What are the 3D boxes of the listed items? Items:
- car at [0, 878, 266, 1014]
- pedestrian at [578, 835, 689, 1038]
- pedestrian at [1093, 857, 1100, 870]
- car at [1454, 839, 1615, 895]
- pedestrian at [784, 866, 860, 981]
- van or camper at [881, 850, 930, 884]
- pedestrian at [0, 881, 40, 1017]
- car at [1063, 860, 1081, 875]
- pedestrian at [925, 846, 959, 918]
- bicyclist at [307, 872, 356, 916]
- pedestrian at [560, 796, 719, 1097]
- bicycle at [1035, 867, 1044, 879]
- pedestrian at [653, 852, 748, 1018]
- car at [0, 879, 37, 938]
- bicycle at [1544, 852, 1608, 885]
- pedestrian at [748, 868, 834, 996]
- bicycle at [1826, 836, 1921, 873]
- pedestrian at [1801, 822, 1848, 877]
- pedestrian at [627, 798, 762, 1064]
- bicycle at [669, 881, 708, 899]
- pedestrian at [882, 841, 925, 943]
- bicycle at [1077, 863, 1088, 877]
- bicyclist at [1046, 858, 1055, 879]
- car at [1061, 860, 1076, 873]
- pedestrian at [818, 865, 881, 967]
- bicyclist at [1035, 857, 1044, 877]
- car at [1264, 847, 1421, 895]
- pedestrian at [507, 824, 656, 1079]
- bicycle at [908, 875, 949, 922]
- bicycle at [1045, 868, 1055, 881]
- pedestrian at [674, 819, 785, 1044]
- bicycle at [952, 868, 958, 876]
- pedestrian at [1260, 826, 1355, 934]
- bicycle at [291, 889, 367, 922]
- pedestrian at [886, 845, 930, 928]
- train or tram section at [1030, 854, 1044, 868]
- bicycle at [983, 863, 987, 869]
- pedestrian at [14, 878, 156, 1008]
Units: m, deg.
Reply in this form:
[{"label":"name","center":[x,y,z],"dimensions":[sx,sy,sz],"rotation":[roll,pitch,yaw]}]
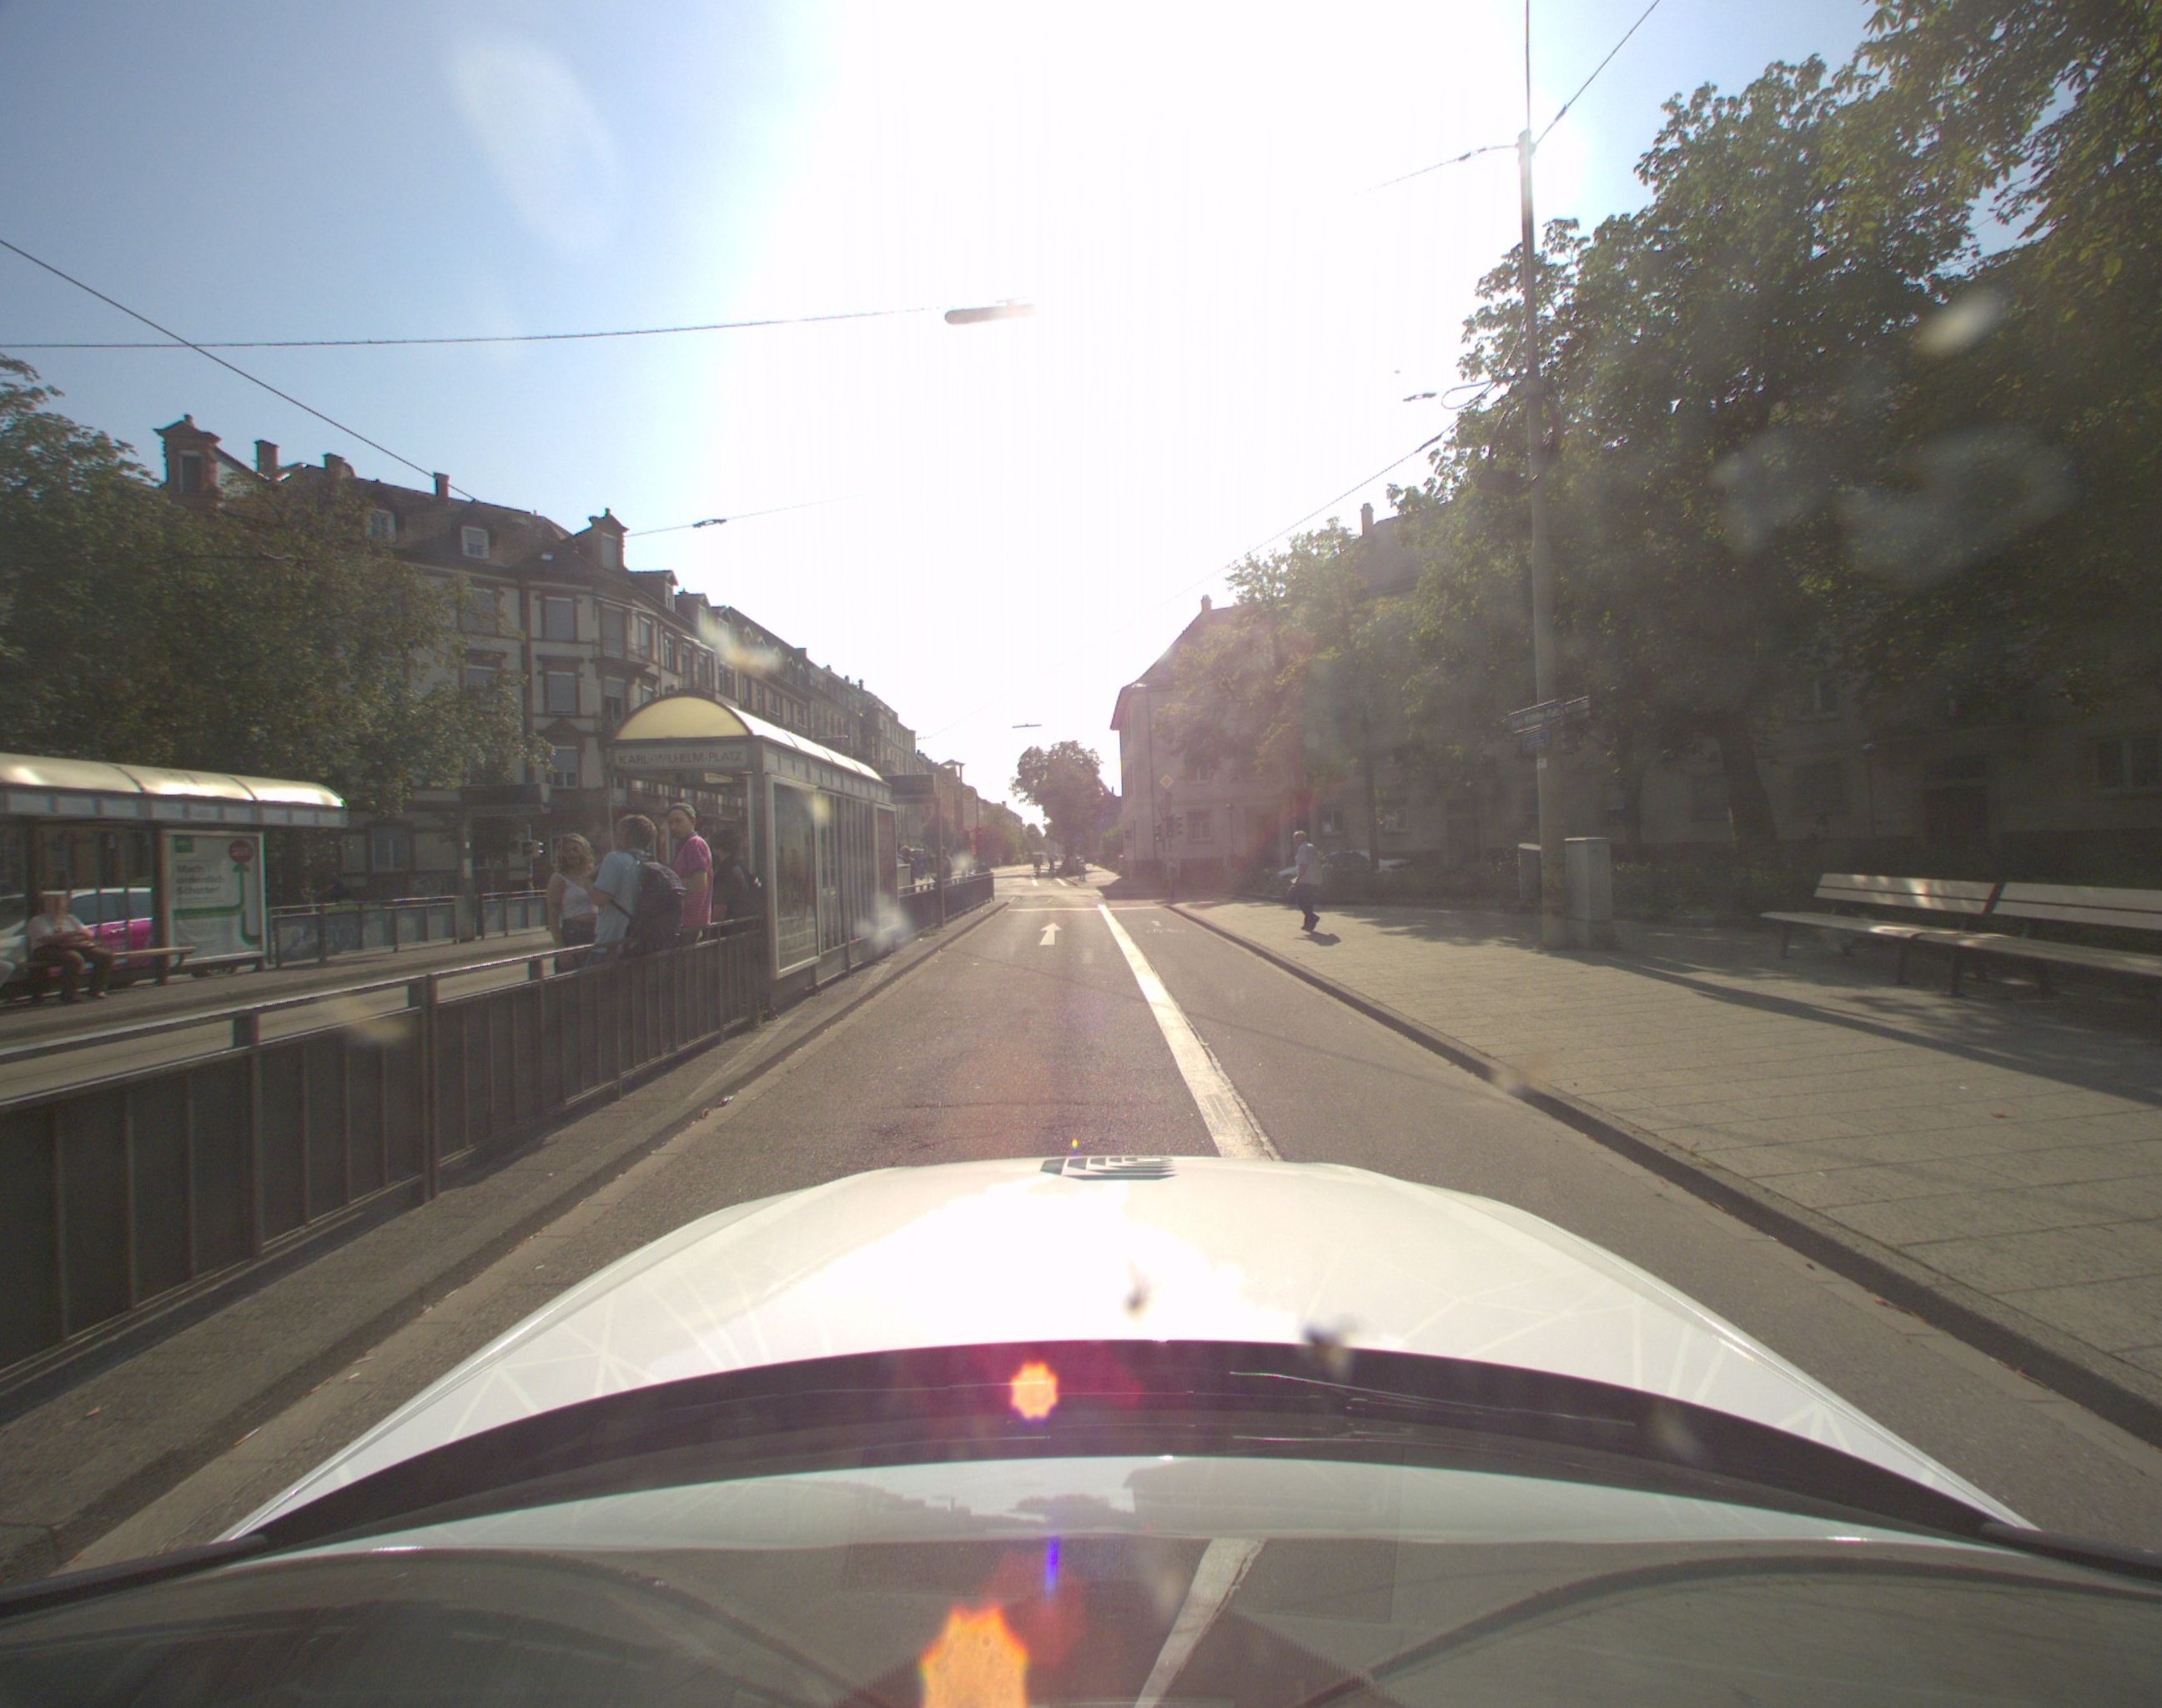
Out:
[{"label":"car","center":[-14.777,1.252,11.460],"dimensions":[1.986,1.651,4.483],"rotation":[-2,0,1]},{"label":"pedestrian","center":[-3.980,0.709,7.277],"dimensions":[0.587,1.721,0.607],"rotation":[-2,-1,1]},{"label":"pedestrian","center":[1.985,1.242,106.398],"dimensions":[0.748,1.749,0.879],"rotation":[-2,-1,6]},{"label":"car","center":[13.582,0.386,24.577],"dimensions":[1.759,1.451,3.847],"rotation":[-4,1,-35]},{"label":"pedestrian","center":[-3.245,0.850,10.245],"dimensions":[0.705,1.378,0.622],"rotation":[-2,-1,-1]},{"label":"van or camper","center":[-14.729,1.088,68.764],"dimensions":[2.040,2.644,6.100],"rotation":[-3,-1,6]},{"label":"pedestrian","center":[-12.024,1.039,8.765],"dimensions":[0.674,1.456,0.718],"rotation":[-2,-1,0]},{"label":"car","center":[-1.001,1.482,91.815],"dimensions":[1.637,1.540,3.847],"rotation":[-4,-1,5]},{"label":"pedestrian","center":[-3.551,0.707,20.833],"dimensions":[0.688,1.766,0.796],"rotation":[-2,-1,-2]},{"label":"bicyclist","center":[-25.766,1.358,28.016],"dimensions":[1.082,1.441,0.651],"rotation":[-2,-1,-28]},{"label":"pedestrian","center":[-2.887,0.575,5.379],"dimensions":[0.634,1.848,0.634],"rotation":[-2,-1,1]},{"label":"bicycle","center":[-3.073,1.396,59.852],"dimensions":[0.624,0.909,1.524],"rotation":[0,-1,-1]},{"label":"pedestrian","center":[-3.720,0.768,8.008],"dimensions":[0.587,1.544,0.607],"rotation":[-2,-1,1]},{"label":"car","center":[-39.967,2.008,29.095],"dimensions":[4.537,2.016,2.091],"rotation":[-2,-1,22]},{"label":"bicycle","center":[17.218,0.489,28.353],"dimensions":[0.611,1.058,1.821],"rotation":[-2,1,-33]},{"label":"pedestrian","center":[-3.201,0.839,9.031],"dimensions":[0.684,1.339,0.622],"rotation":[-2,-1,-1]},{"label":"bicycle","center":[22.782,0.028,23.467],"dimensions":[0.534,1.007,1.896],"rotation":[-2,0,-21]},{"label":"pedestrian","center":[23.325,-0.125,25.549],"dimensions":[0.690,1.671,0.858],"rotation":[-2,-1,-28]},{"label":"pedestrian","center":[-2.852,0.543,6.062],"dimensions":[0.634,1.848,0.634],"rotation":[-2,-1,1]},{"label":"bicycle","center":[-20.978,1.899,43.567],"dimensions":[0.521,0.860,1.840],"rotation":[-2,0,37]},{"label":"pedestrian","center":[-3.274,0.687,15.060],"dimensions":[0.602,1.806,0.729],"rotation":[-2,-1,-2]},{"label":"bicycle","center":[0.117,1.315,68.107],"dimensions":[0.770,1.104,2.331],"rotation":[-2,0,-3]},{"label":"bicyclist","center":[-2.171,1.014,57.758],"dimensions":[0.652,1.474,0.908],"rotation":[0,-1,-1]},{"label":"car","center":[-1.478,1.571,99.797],"dimensions":[1.640,1.448,4.244],"rotation":[-4,-1,0]},{"label":"pedestrian","center":[-3.289,0.866,11.620],"dimensions":[0.684,1.378,0.622],"rotation":[-2,-1,-1]},{"label":"bicyclist","center":[-3.073,0.950,59.870],"dimensions":[0.625,1.401,0.929],"rotation":[0,-1,-1]},{"label":"car","center":[9.246,0.637,29.025],"dimensions":[4.890,1.469,1.889],"rotation":[-3,2,40]},{"label":"pedestrian","center":[-3.630,0.676,5.966],"dimensions":[0.634,1.748,0.634],"rotation":[-2,-1,1]},{"label":"bicycle","center":[-3.902,1.127,20.941],"dimensions":[0.470,1.104,1.741],"rotation":[-2,0,8]},{"label":"bicycle","center":[-2.177,1.446,57.766],"dimensions":[0.652,0.909,1.774],"rotation":[0,-1,-1]},{"label":"pedestrian","center":[-2.889,0.614,6.748],"dimensions":[0.587,1.764,0.607],"rotation":[-2,-1,1]},{"label":"bicycle","center":[-16.931,2.373,109.421],"dimensions":[0.543,1.058,1.840],"rotation":[2,-1,1]},{"label":"pedestrian","center":[3.908,0.443,14.086],"dimensions":[1.084,1.724,0.959],"rotation":[-5,-1,-32]},{"label":"bicycle","center":[-25.811,1.765,27.981],"dimensions":[1.795,1.014,0.651],"rotation":[-2,0,-28]},{"label":"pedestrian","center":[-3.742,0.693,17.673],"dimensions":[0.765,1.760,0.680],"rotation":[-2,-1,-2]},{"label":"train or tram section","center":[-11.194,1.847,208.706],"dimensions":[2.726,3.506,15.424],"rotation":[-2,-1,-1]},{"label":"bicycle","center":[-17.076,2.099,144.529],"dimensions":[0.507,1.108,2.003],"rotation":[-2,-1,0]},{"label":"pedestrian","center":[-12.011,1.047,9.846],"dimensions":[0.790,1.456,0.718],"rotation":[-2,-1,0]}]
